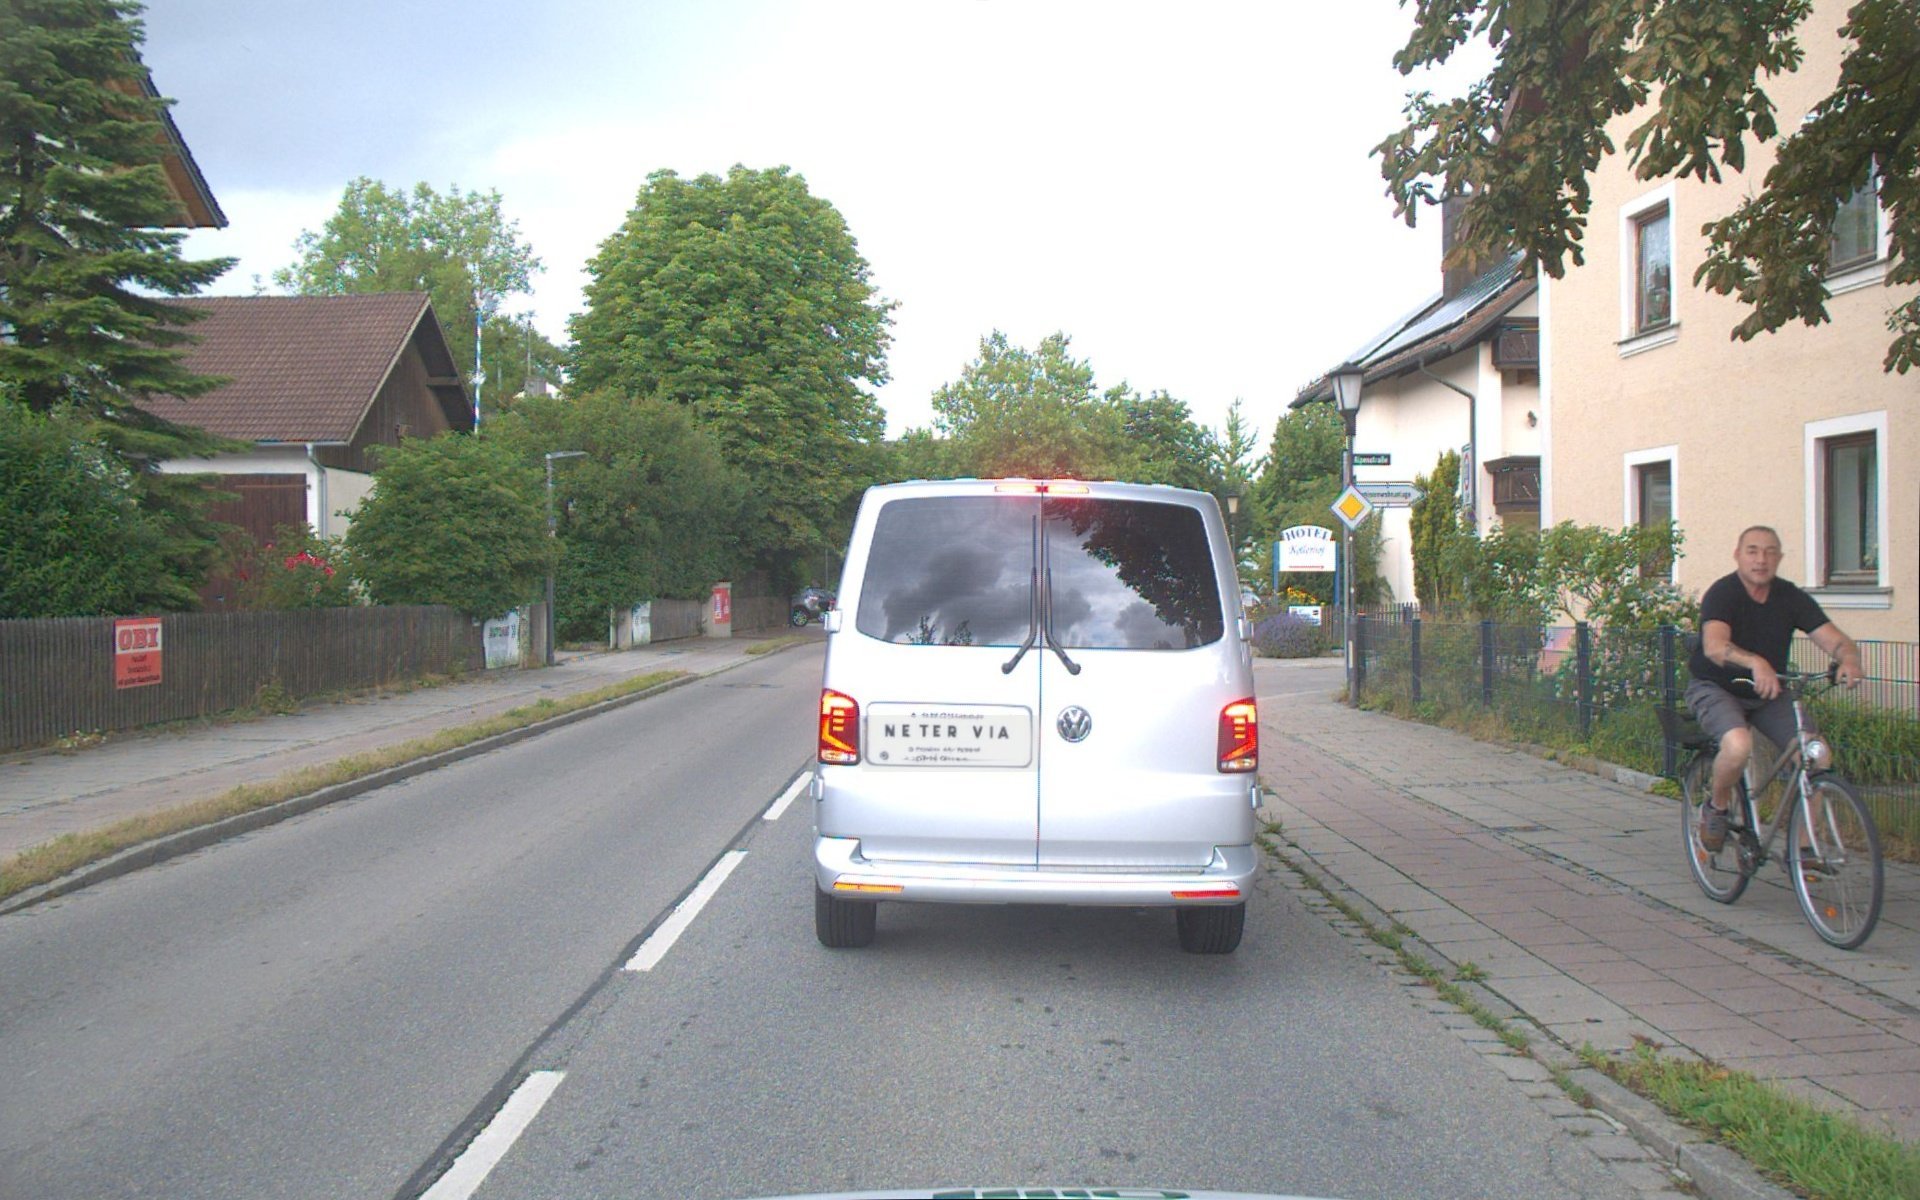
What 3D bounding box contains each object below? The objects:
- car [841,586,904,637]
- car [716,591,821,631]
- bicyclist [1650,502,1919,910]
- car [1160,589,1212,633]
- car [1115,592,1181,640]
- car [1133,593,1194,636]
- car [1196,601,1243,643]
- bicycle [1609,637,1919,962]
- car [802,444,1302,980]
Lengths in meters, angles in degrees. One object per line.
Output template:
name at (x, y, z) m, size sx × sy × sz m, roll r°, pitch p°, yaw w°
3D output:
car at (-2.902, 0.372, 55.486) m, size 1.891 × 1.602 × 4.311 m, roll 1°, pitch 0°, yaw 0°
car at (-7.306, 0.416, 62.929) m, size 3.912 × 1.512 × 1.996 m, roll 0°, pitch 0°, yaw -9°
bicyclist at (3.605, 0.437, 7.283) m, size 0.721 × 1.661 × 0.890 m, roll -2°, pitch 0°, yaw 1°
car at (9.339, 0.439, 68.234) m, size 1.841 × 1.779 × 4.084 m, roll 0°, pitch 0°, yaw 12°
car at (6.321, 0.506, 55.308) m, size 1.841 × 1.562 × 3.924 m, roll 0°, pitch 0°, yaw 11°
car at (7.580, 0.509, 61.344) m, size 1.841 × 1.562 × 3.924 m, roll 0°, pitch 0°, yaw 13°
car at (12.067, 1.002, 76.779) m, size 1.841 × 1.857 × 3.924 m, roll 0°, pitch 0°, yaw 13°
bicycle at (3.600, 0.787, 7.271) m, size 0.749 × 1.163 × 1.845 m, roll -3°, pitch 0°, yaw 1°
car at (0.355, 0.407, 8.075) m, size 1.842 × 1.974 × 3.921 m, roll 0°, pitch 0°, yaw 0°
